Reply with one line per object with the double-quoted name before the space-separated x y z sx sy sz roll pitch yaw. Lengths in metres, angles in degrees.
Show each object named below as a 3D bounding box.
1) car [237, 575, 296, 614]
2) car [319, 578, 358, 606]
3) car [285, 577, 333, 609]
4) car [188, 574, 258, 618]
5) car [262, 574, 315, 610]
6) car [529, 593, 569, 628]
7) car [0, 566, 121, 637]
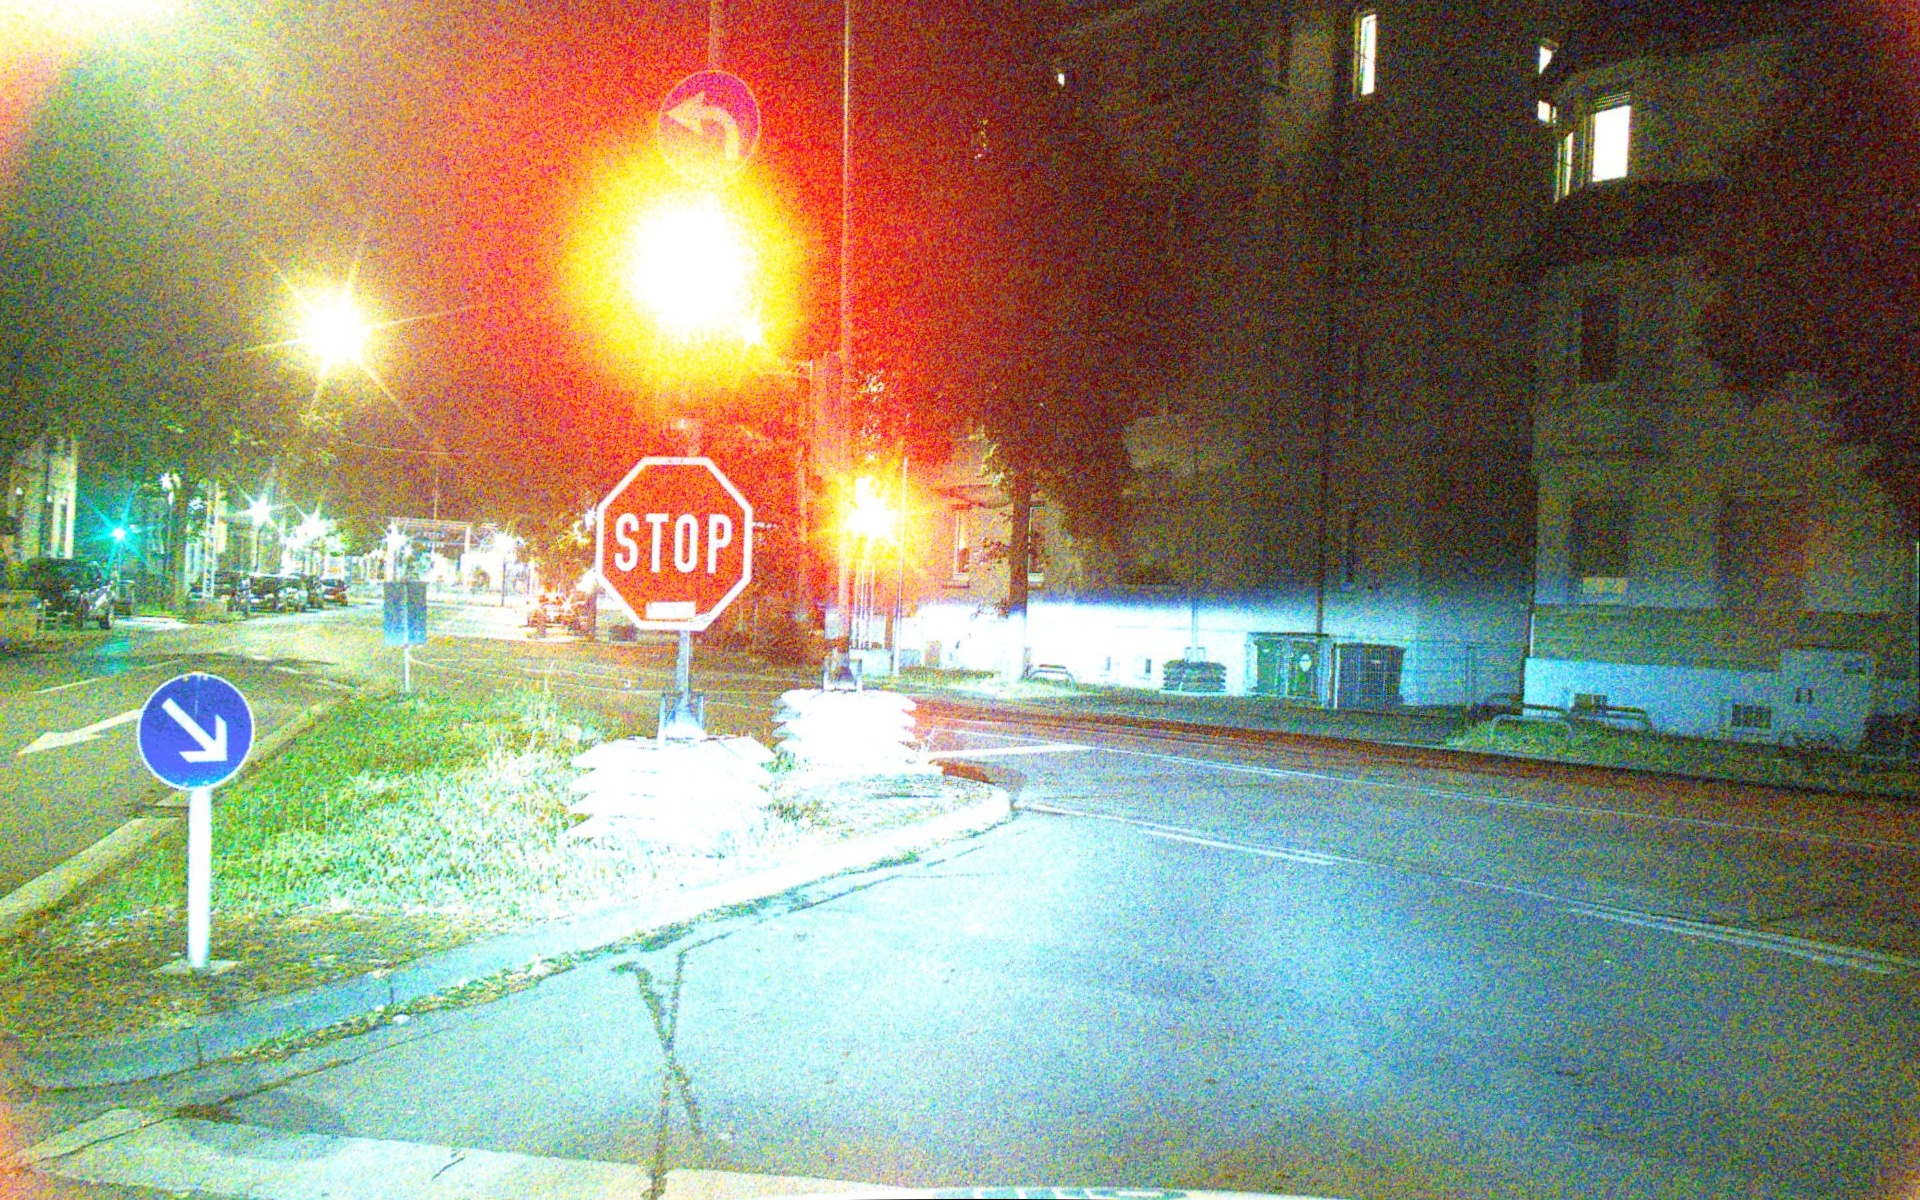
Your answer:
"car" -27.677 -0.205 66.087 1.624 1.456 3.983 2 0 -16
"car" -34.451 -0.465 91.736 1.624 1.456 3.983 2 0 -16
"car" -30.886 -0.339 78.529 1.624 1.456 3.983 2 0 -16
"car" -25.854 -0.136 58.146 1.624 1.456 3.983 2 0 -16
"car" -29.238 -0.341 72.091 1.624 1.456 3.983 2 0 -16
"car" -17.793 0.437 71.614 1.623 1.456 3.985 2 0 -14
"car" -20.200 0.022 37.134 1.624 1.456 3.983 2 0 -16
